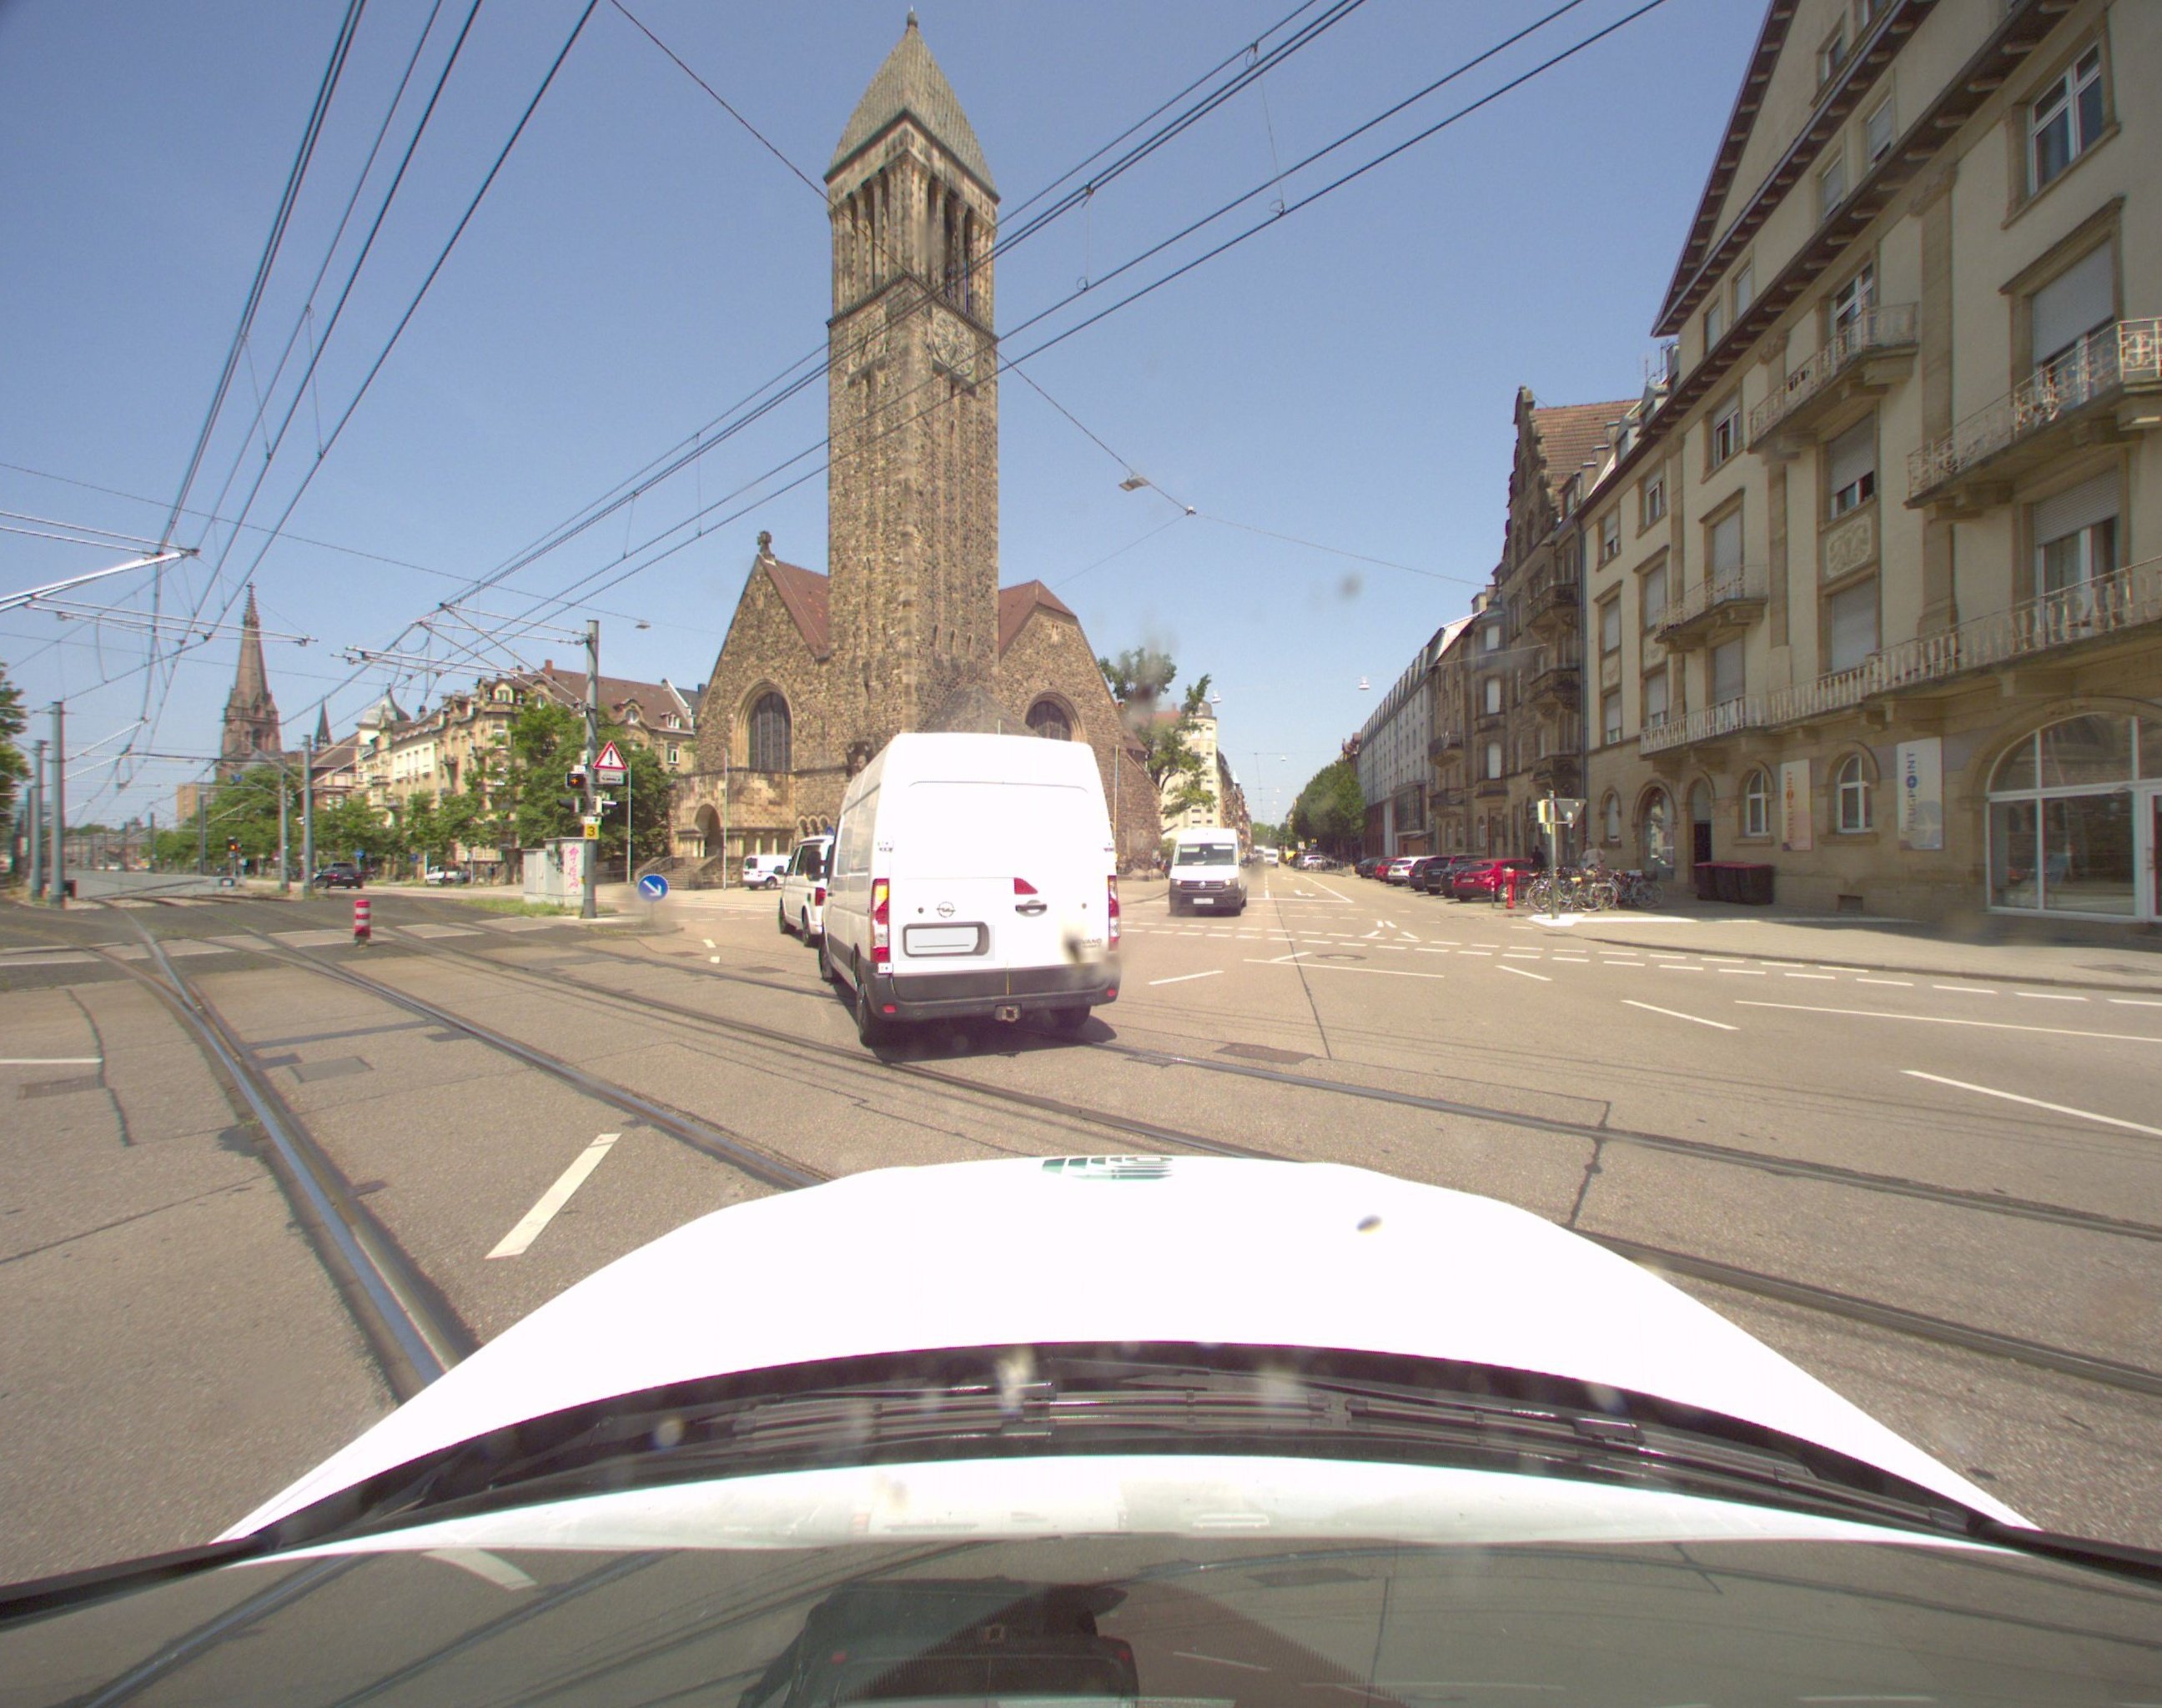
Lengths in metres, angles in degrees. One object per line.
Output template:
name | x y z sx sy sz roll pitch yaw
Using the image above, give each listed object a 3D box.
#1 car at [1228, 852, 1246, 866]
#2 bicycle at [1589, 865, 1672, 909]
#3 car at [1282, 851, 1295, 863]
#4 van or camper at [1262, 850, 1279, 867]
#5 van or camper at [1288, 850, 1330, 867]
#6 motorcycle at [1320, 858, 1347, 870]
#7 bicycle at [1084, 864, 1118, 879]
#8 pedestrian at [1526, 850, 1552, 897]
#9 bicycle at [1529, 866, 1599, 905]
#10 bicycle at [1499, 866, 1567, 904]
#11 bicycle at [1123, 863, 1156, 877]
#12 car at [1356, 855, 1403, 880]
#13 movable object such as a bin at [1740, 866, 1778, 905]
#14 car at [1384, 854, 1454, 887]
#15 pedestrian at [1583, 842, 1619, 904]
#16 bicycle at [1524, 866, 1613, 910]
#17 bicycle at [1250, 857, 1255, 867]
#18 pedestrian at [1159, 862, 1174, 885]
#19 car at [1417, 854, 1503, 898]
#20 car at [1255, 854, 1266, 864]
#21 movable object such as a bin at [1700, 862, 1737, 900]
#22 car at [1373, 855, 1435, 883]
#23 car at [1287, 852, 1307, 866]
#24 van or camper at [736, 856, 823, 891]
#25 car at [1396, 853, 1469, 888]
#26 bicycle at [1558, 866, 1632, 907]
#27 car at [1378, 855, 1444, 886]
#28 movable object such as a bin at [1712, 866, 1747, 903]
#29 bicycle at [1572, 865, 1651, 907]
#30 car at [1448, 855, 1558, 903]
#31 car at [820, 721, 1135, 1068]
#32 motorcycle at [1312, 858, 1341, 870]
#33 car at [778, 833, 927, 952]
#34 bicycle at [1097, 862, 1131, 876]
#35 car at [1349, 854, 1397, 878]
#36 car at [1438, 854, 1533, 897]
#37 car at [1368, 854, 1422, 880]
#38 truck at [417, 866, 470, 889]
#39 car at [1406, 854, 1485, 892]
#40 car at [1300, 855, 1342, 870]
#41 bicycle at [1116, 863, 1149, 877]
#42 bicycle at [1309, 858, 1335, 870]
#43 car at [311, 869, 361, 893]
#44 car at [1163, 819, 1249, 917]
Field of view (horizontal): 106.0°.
car | 20.109 0.636 105.192 1.944 1.750 4.007 -1 0 6
bicycle | 14.960 0.907 22.227 1.782 1.151 0.568 -2 -2 26
car | 37.010 0.593 145.415 1.891 2.014 4.019 -2 -1 19
van or camper | 25.768 0.596 110.750 2.023 2.141 4.593 -1 0 11
van or camper | 26.362 0.491 94.247 4.318 1.838 1.991 -1 0 -14
motorcycle | 25.010 0.986 80.758 2.571 1.174 0.685 -1 -1 15
bicycle | 1.368 1.201 56.744 2.466 1.011 0.710 -1 0 40
pedestrian | 20.269 0.855 36.050 0.857 2.014 1.107 -1 -1 23
bicycle | 14.870 0.981 25.121 1.782 1.151 0.568 -2 -2 26
bicycle | 14.507 0.988 26.178 1.789 1.151 0.566 -2 -1 7
bicycle | 4.334 1.169 60.777 2.466 1.011 0.711 -1 0 39
car | 20.616 0.950 56.138 3.242 1.575 1.479 -1 -2 -38
movable object such as a bin | 17.670 0.807 21.232 0.576 0.995 0.593 -1 -1 21
car | 18.211 0.879 43.871 3.231 1.575 1.604 -2 -2 -24
pedestrian | 18.162 0.654 28.463 0.857 2.114 1.107 -1 -1 23
bicycle | 13.337 0.924 22.354 2.034 1.151 0.568 -1 0 26
bicycle | 24.827 1.153 118.053 0.668 1.359 2.075 -1 0 11
pedestrian | 5.690 1.296 54.140 0.711 1.559 0.797 -1 -1 31
car | 15.990 0.931 34.366 3.234 1.665 1.602 -2 -2 -27
car | 35.762 0.952 161.803 1.979 2.014 4.015 -1 -1 14
movable object such as a bin | 18.051 0.748 23.080 0.663 1.064 0.593 -1 -1 21
car | 19.638 0.907 49.540 3.230 1.575 1.604 -2 -2 -23
car | 27.694 0.575 104.537 1.944 1.750 4.007 -1 0 6
van or camper | -16.299 1.019 44.134 1.974 1.807 4.025 -1 -1 34
car | 17.724 0.837 41.047 3.234 1.575 1.602 -2 -2 -27
bicycle | 15.168 0.966 24.079 1.782 1.151 0.568 -2 -2 26
car | 18.925 0.948 46.721 3.230 1.575 1.604 -2 -2 -23
movable object such as a bin | 17.788 0.820 22.349 0.576 0.995 0.593 -1 -1 21
bicycle | 15.074 0.903 23.179 1.782 1.151 0.568 -2 -2 26
car | 14.731 0.871 28.485 3.227 1.479 1.606 -2 -2 -20
car | -1.463 0.313 8.521 2.125 2.459 5.018 0 -1 -21
motorcycle | 24.102 1.011 79.922 2.690 1.174 0.778 -1 -1 15
car | -4.528 0.654 15.672 1.927 1.944 4.225 0 -1 -28
bicycle | 2.330 1.058 58.194 2.466 1.011 0.711 -1 -1 39
car | 21.156 0.888 58.942 3.239 1.575 1.600 -2 -2 -33
car | 15.617 0.831 31.434 3.234 1.479 1.602 -2 -2 -27
car | 20.469 0.849 53.136 3.238 1.575 1.600 -2 -2 -32
truck | -45.243 1.662 57.736 4.407 1.526 1.807 -1 0 36
car | 16.988 0.879 37.952 3.234 1.575 1.602 -2 -2 -27
car | 25.931 0.878 87.967 3.988 1.549 1.743 0 -1 -11
bicycle | 3.760 1.175 59.950 2.466 1.011 0.711 -1 0 39
bicycle | 24.950 1.028 84.241 2.590 1.174 0.680 0 -1 -10
car | -49.972 1.792 54.608 3.710 1.539 1.767 -1 -1 37
car | 4.059 0.386 25.425 2.056 2.637 6.658 -1 0 13
